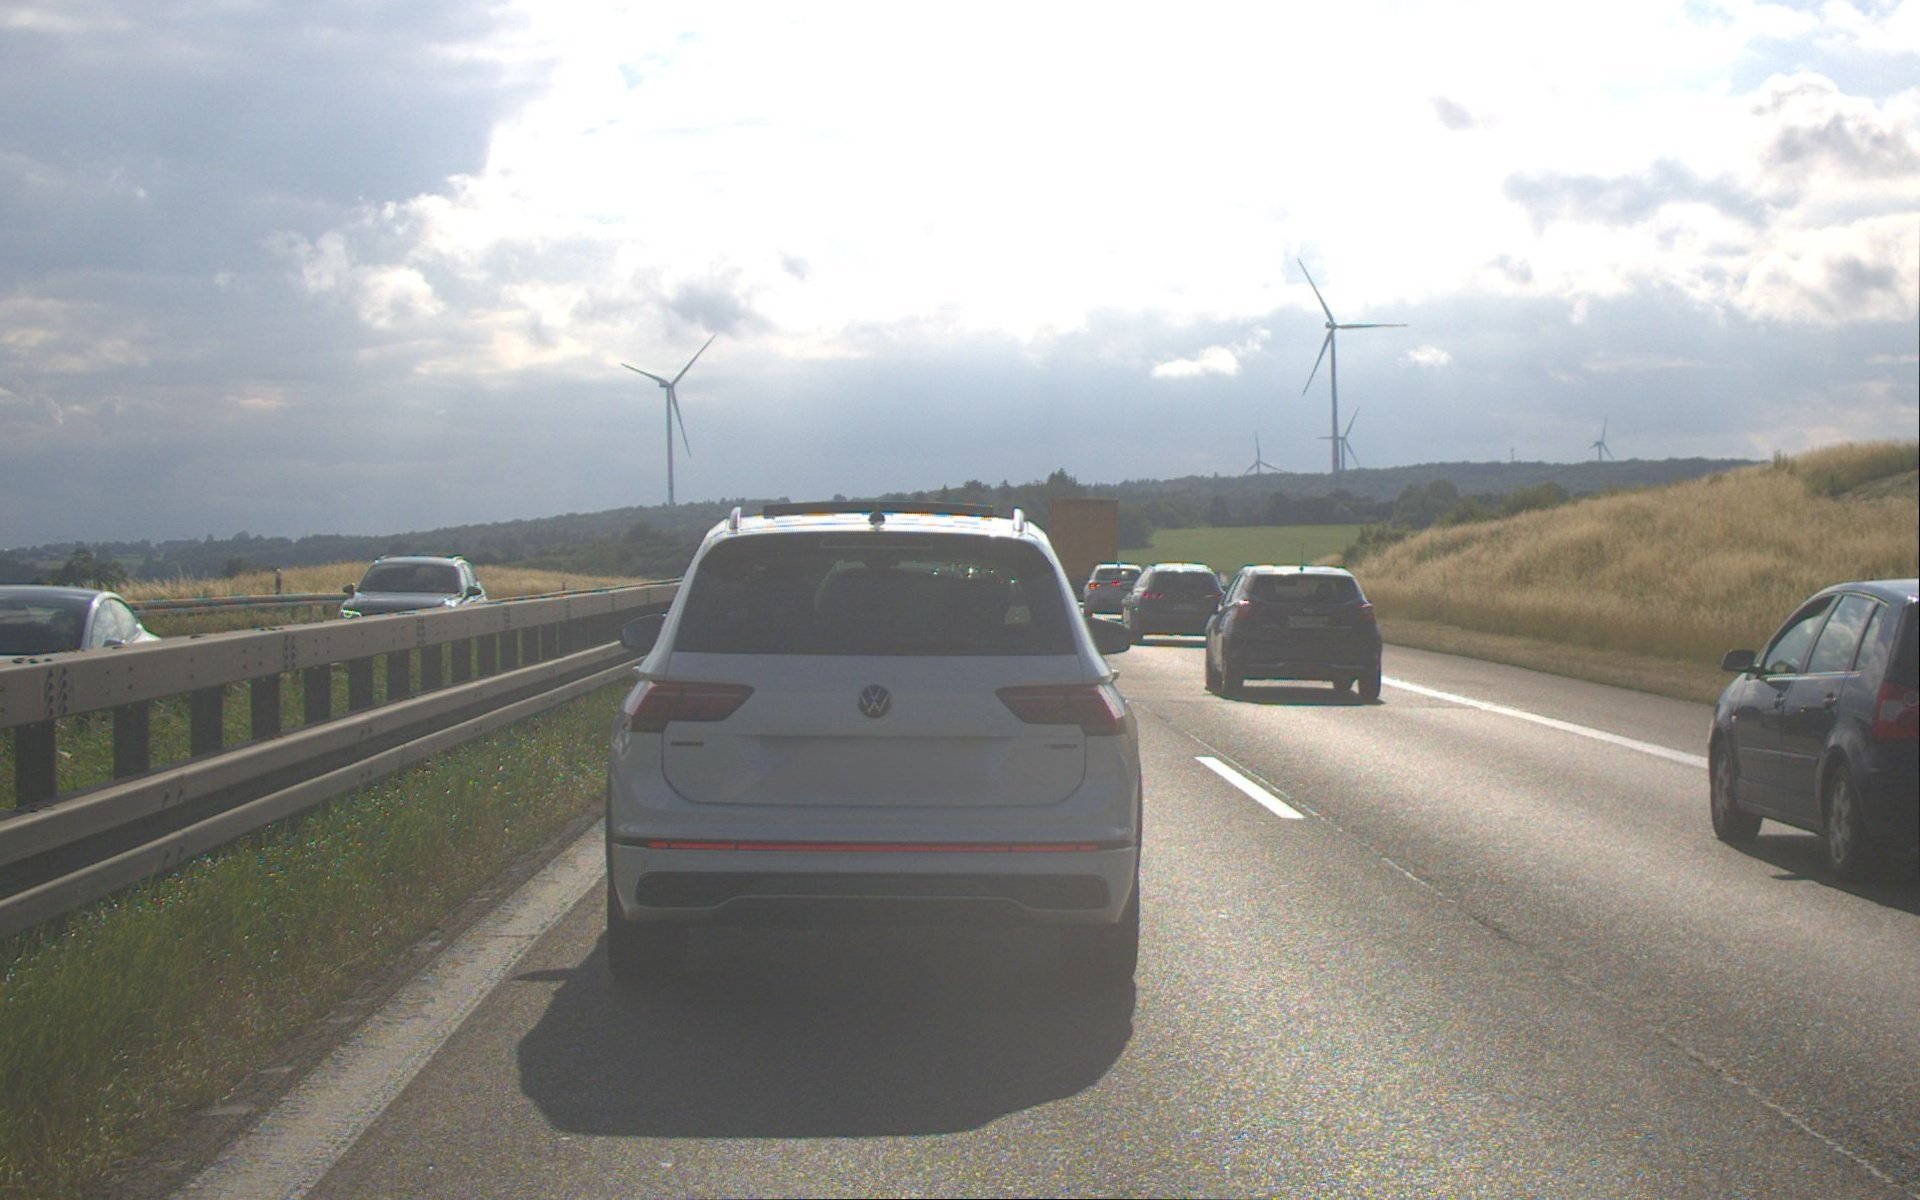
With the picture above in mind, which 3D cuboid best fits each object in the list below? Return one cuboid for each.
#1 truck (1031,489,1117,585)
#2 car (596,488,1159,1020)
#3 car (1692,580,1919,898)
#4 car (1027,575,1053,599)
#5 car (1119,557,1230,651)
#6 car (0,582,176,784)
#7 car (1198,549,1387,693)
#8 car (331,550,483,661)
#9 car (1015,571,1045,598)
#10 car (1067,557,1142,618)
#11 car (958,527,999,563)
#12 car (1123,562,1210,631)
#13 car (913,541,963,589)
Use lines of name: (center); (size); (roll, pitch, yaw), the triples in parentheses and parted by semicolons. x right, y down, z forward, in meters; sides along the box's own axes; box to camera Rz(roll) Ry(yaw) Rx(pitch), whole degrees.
truck: (4.383, -2.466, 134.008); (3.184, 3.581, 11.130); (1, 1, 1)
car: (-0.286, 0.474, 12.902); (1.770, 1.670, 4.000); (1, 0, -1)
car: (4.866, 0.619, 17.227); (1.605, 1.415, 3.672); (1, 0, 0)
car: (5.215, -0.826, 224.972); (1.704, 1.540, 4.000); (1, 0, 1)
car: (3.880, 0.054, 62.746); (1.704, 1.644, 4.000); (1, 0, -1)
car: (-7.813, 0.618, 28.445); (1.749, 1.516, 4.480); (0, 0, -2)
car: (3.727, 0.208, 39.156); (1.704, 1.540, 4.000); (1, 0, -1)
car: (-8.372, 0.064, 52.342); (1.749, 1.598, 4.266); (0, 0, -2)
car: (4.024, -0.904, 198.252); (1.704, 1.540, 4.000); (1, 0, 1)
car: (3.722, -0.325, 89.052); (1.704, 1.540, 4.000); (1, 0, -1)
car: (0.812, -2.387, 149.987); (1.704, 1.540, 4.000); (1, 0, -1)
car: (4.698, -0.094, 78.614); (1.704, 1.540, 4.000); (1, 0, -1)
car: (-0.792, -1.216, 120.007); (1.704, 1.644, 4.000); (1, 0, -1)
